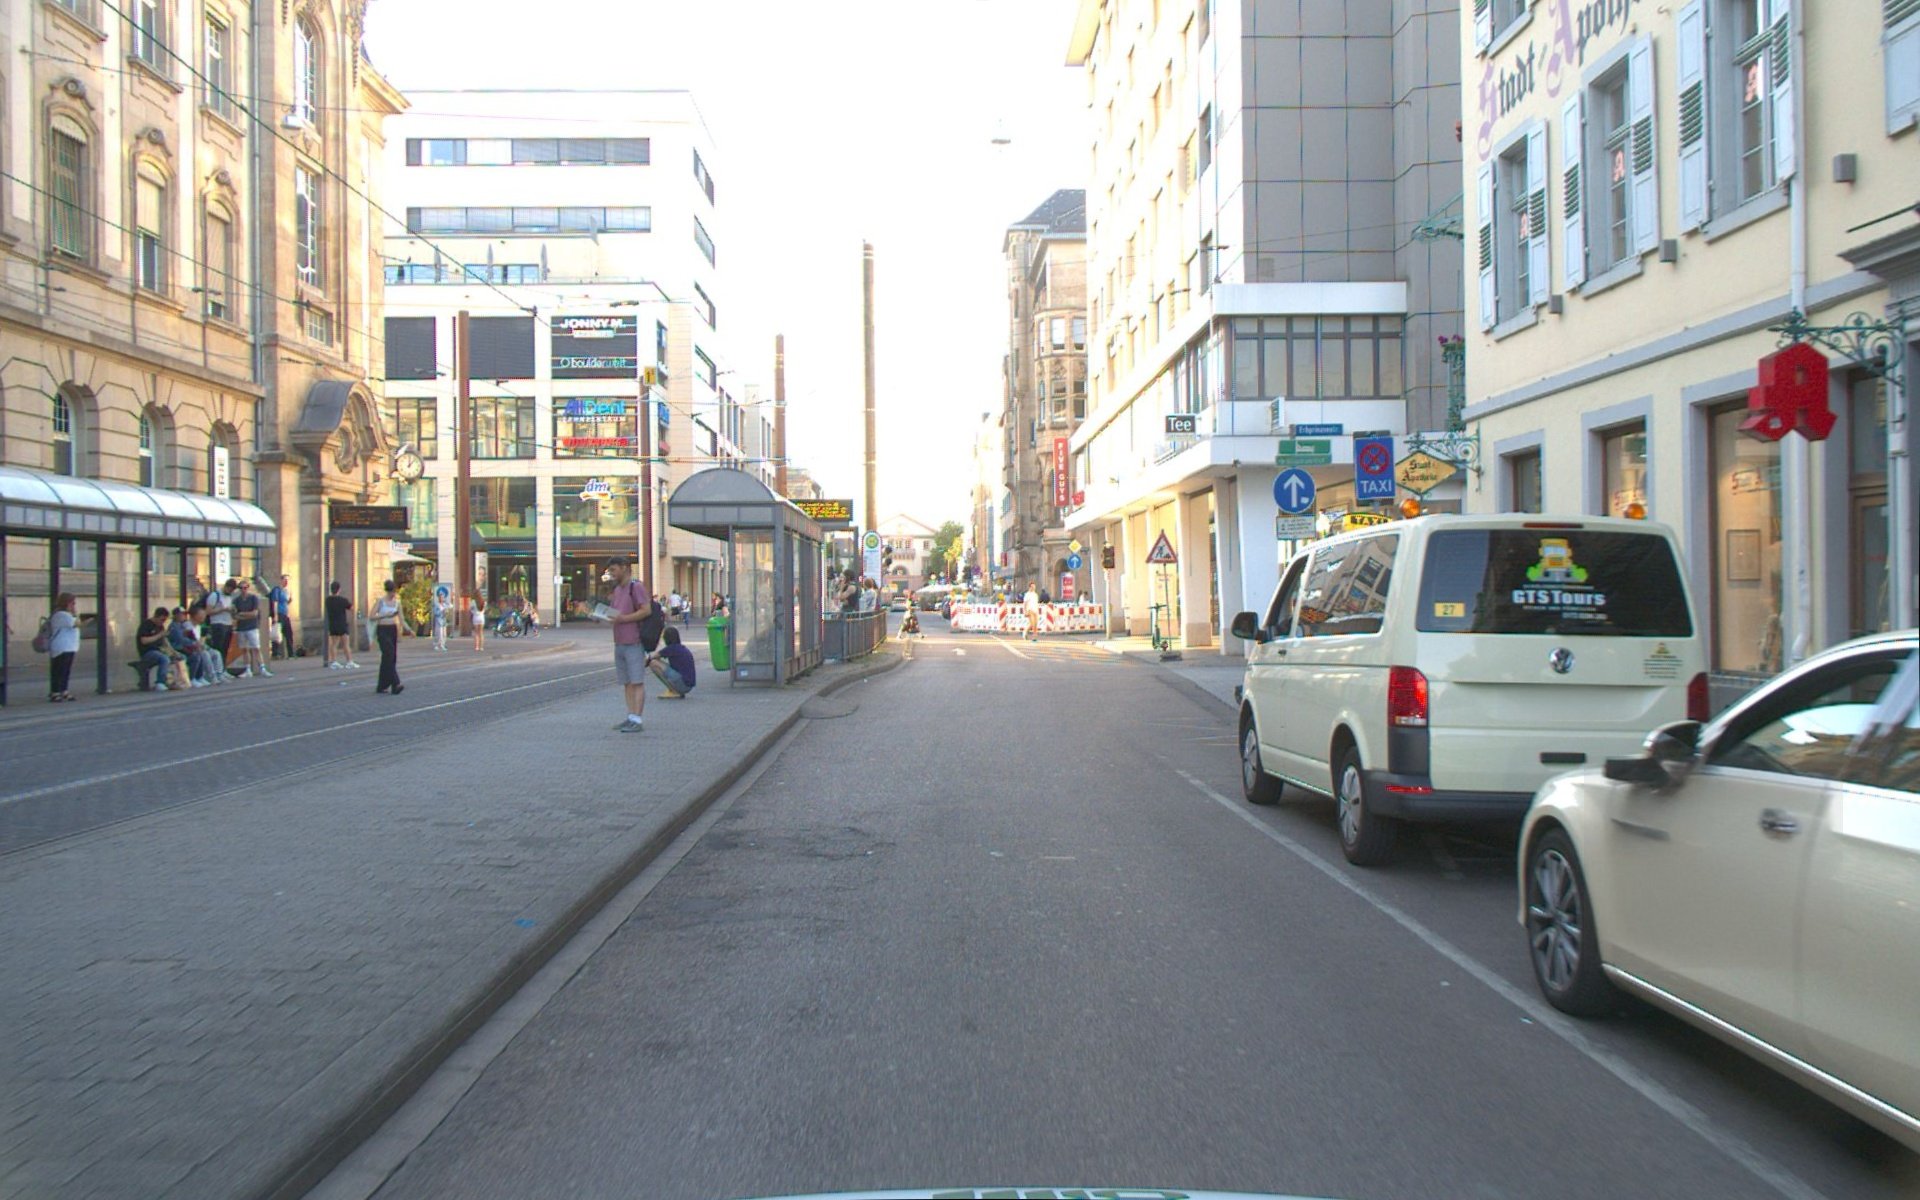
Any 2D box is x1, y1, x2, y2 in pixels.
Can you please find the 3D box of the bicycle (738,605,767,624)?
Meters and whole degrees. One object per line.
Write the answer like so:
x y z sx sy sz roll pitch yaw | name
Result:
-12.350 0.857 98.620 1.661 1.141 0.451 1 -1 1 | bicycle

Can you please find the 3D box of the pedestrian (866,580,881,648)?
-2.144 0.338 40.898 0.349 1.670 0.502 1 -1 -4 | pedestrian

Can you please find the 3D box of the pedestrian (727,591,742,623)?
-12.977 0.398 95.109 0.766 1.782 0.599 1 -1 -5 | pedestrian

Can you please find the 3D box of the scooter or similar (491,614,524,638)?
-17.819 1.024 65.135 1.071 0.920 0.890 -1 0 0 | scooter or similar

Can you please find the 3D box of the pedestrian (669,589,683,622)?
-16.189 0.310 94.280 0.560 1.887 0.817 1 -1 10 | pedestrian

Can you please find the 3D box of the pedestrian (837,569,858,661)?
-2.228 0.302 32.777 0.404 1.798 0.594 1 -1 -4 | pedestrian

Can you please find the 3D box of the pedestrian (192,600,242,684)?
-12.129 0.675 27.007 0.507 1.350 0.638 0 -1 2 | pedestrian

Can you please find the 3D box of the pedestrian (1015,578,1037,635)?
2.152 0.205 53.875 0.684 1.847 0.852 1 0 4 | pedestrian

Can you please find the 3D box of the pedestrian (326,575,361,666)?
-12.360 0.413 33.156 0.548 1.807 0.468 0 0 -6 | pedestrian

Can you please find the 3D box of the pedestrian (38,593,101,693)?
-12.242 0.585 22.755 0.507 1.350 0.638 0 -1 2 | pedestrian

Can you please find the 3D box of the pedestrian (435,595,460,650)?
-14.439 0.630 46.569 0.489 1.552 0.520 0 0 8 | pedestrian

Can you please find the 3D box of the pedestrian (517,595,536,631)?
-17.297 0.504 65.985 0.626 1.445 0.418 0 0 0 | pedestrian

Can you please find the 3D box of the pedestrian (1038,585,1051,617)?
4.600 0.038 89.573 0.612 1.719 0.671 -1 0 -4 | pedestrian

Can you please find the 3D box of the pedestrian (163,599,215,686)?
-12.182 0.669 26.135 0.507 1.350 0.638 0 -1 2 | pedestrian

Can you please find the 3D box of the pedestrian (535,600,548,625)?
-16.642 0.511 65.778 0.413 0.982 0.418 0 0 0 | pedestrian

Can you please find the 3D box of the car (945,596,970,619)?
-0.183 0.539 120.587 1.645 1.574 3.671 -2 0 -2 | car

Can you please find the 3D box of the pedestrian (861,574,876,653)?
-2.131 0.325 38.612 0.335 1.827 0.544 1 -1 -3 | pedestrian

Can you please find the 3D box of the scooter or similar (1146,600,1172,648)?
5.330 0.637 44.365 0.495 1.256 1.179 0 0 -2 | scooter or similar

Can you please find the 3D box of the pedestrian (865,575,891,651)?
-1.952 0.315 39.409 0.528 1.798 0.594 1 -1 4 | pedestrian

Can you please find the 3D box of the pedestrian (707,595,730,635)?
-10.173 0.636 69.636 0.760 1.642 0.661 -1 0 -27 | pedestrian

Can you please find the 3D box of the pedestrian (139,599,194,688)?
-12.163 0.665 25.367 0.507 1.350 0.638 0 -1 2 | pedestrian

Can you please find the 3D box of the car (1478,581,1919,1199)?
3.082 0.707 4.440 1.769 1.509 4.777 0 1 -2 | car

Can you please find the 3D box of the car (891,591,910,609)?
-6.580 0.035 183.166 1.953 1.937 3.998 1 0 -2 | car

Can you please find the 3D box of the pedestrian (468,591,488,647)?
-13.278 0.516 45.562 0.517 1.552 0.500 0 0 -15 | pedestrian

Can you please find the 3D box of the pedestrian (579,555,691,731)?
-3.193 0.407 16.270 0.675 1.666 0.857 0 0 39 | pedestrian

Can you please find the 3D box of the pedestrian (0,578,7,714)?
-12.169 0.571 20.294 0.507 1.679 0.638 -1 -1 21 | pedestrian

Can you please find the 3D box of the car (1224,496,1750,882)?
3.132 0.481 10.972 1.839 1.957 4.698 2 0 -2 | car

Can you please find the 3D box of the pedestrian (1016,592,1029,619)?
3.719 0.328 98.265 0.697 1.639 0.821 1 -1 -4 | pedestrian

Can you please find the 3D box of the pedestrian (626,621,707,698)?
-3.764 0.754 21.243 0.781 0.955 0.693 0 0 21 | pedestrian

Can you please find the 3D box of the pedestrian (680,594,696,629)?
-13.331 0.582 81.100 0.635 1.703 0.530 -1 0 7 | pedestrian

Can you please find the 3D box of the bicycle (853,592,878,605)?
-8.187 -0.121 143.781 2.104 1.047 0.640 -1 0 0 | bicycle

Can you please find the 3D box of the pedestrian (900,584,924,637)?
-1.578 0.358 54.221 0.686 1.723 0.540 1 -1 -9 | pedestrian

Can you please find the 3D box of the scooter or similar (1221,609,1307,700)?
4.329 0.782 23.560 1.151 1.256 0.316 -2 -1 15 | scooter or similar

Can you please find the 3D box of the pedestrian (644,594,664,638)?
-12.183 0.628 65.883 0.729 1.730 0.609 0 0 -7 | pedestrian

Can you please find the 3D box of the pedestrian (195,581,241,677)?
-13.133 0.514 29.276 0.507 1.674 0.638 0 -1 2 | pedestrian

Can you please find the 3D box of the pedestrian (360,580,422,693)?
-8.781 0.556 25.540 0.660 1.721 0.638 0 -1 15 | pedestrian

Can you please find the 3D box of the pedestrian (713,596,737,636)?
-9.782 0.675 68.835 0.811 1.642 0.687 -1 0 -27 | pedestrian

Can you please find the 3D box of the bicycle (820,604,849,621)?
-8.555 0.834 113.082 1.947 1.141 0.552 1 -1 -31 | bicycle

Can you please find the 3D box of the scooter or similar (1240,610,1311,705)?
4.369 0.785 22.863 1.035 1.256 0.269 -1 -1 -34 | scooter or similar

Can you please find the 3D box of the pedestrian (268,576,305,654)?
-15.649 0.344 38.432 0.608 1.807 0.705 0 0 -5 | pedestrian

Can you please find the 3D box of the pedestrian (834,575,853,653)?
-2.517 0.303 35.780 0.378 1.670 0.549 1 -1 -4 | pedestrian

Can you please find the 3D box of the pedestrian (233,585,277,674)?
-12.809 0.540 30.051 0.507 1.597 0.638 0 -1 2 | pedestrian

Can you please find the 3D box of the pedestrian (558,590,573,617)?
-22.957 0.206 96.297 0.560 1.553 0.791 1 -1 10 | pedestrian
